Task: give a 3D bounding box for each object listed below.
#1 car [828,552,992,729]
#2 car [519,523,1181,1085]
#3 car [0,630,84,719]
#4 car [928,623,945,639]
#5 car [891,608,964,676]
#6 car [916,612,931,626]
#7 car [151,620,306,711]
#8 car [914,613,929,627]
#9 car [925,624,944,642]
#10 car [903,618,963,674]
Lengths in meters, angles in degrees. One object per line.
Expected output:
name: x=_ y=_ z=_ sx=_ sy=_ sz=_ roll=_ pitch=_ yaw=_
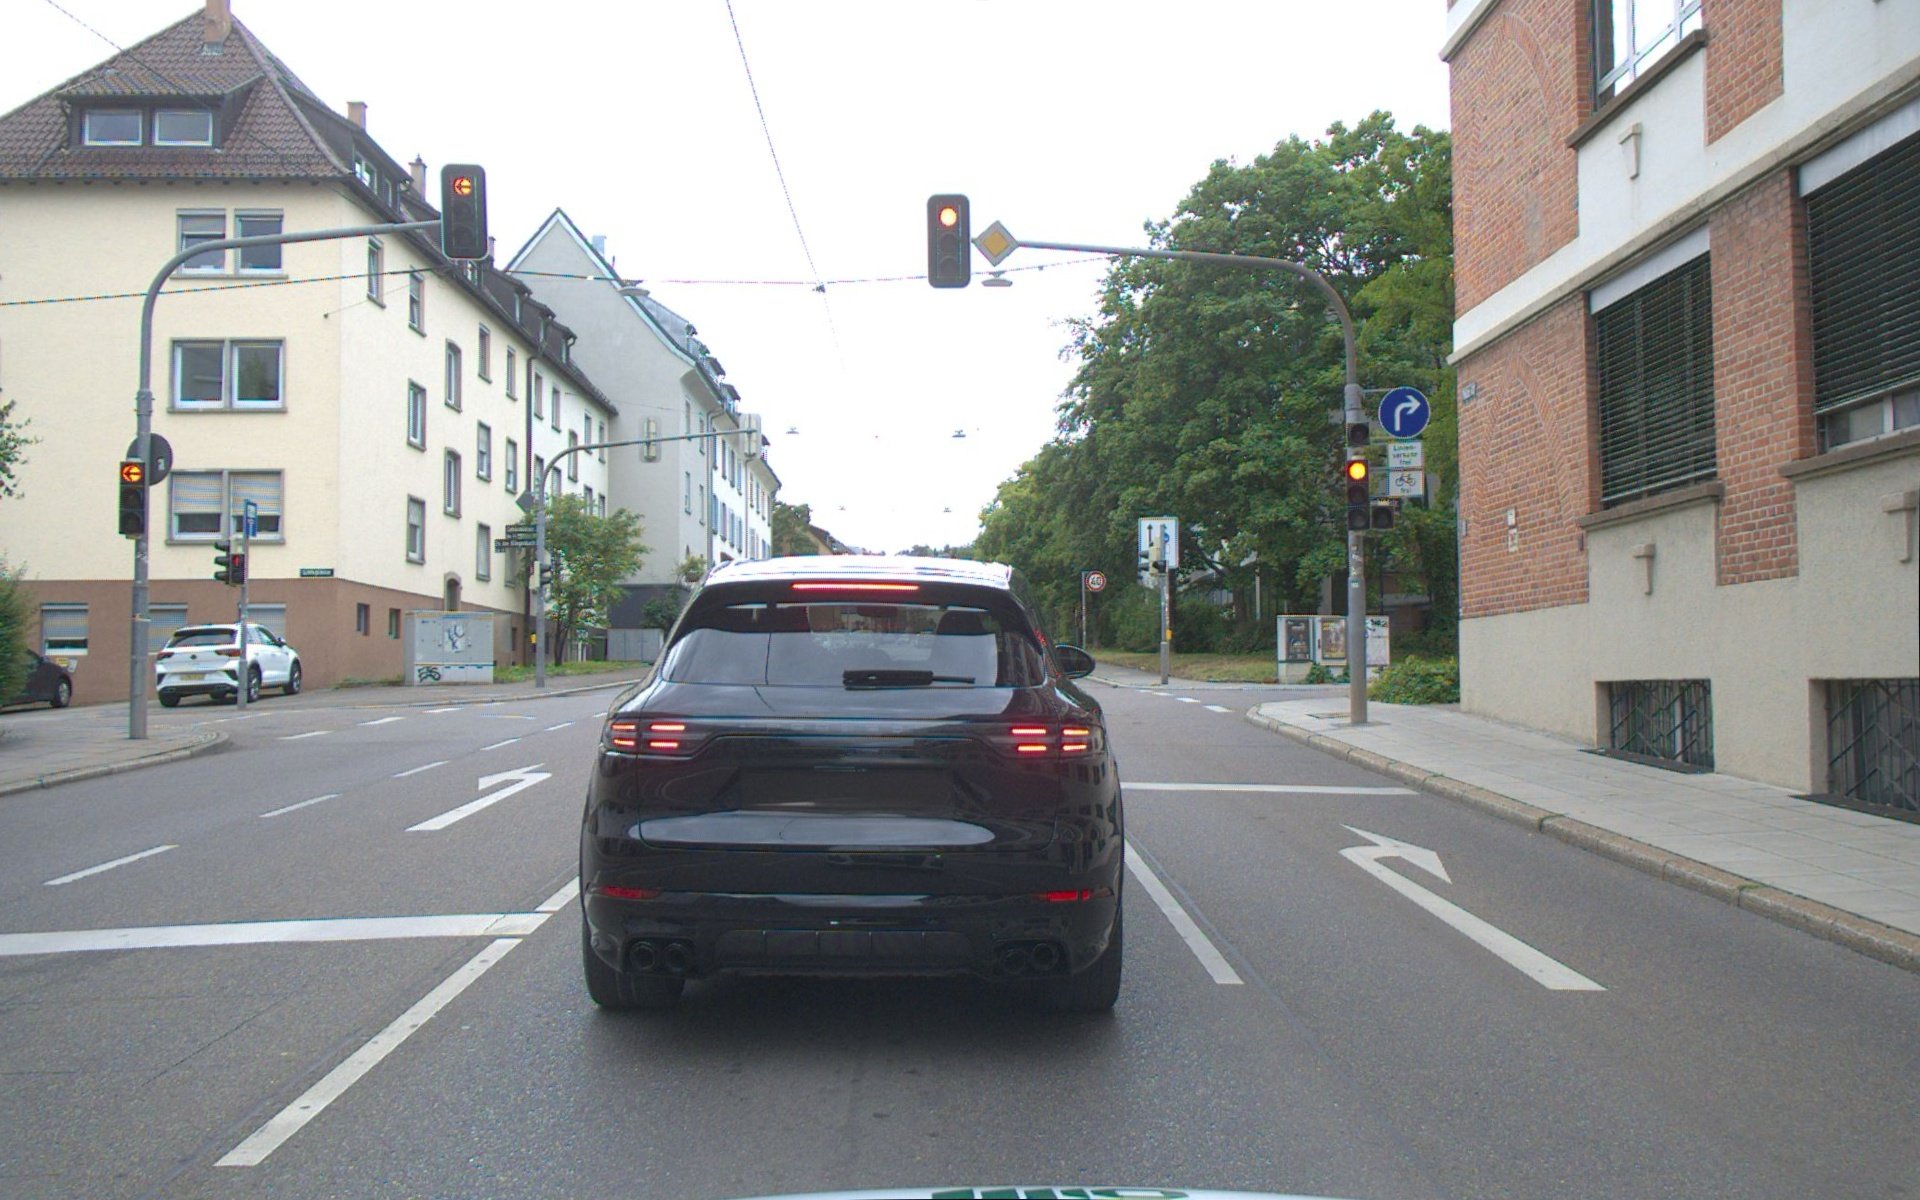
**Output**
car: x=-0.618 y=0.478 z=21.880 sx=1.925 sy=2.078 sz=4.134 roll=1 pitch=0 yaw=-1
car: x=-0.354 y=0.624 z=7.234 sx=2.007 sy=1.695 sz=4.266 roll=1 pitch=0 yaw=-1
car: x=-19.627 y=1.518 z=33.758 sx=1.658 sy=1.636 sz=3.762 roll=-3 pitch=0 yaw=-5
car: x=-2.586 y=3.428 z=182.392 sx=1.790 sy=1.633 sz=4.134 roll=1 pitch=0 yaw=-1
car: x=-0.836 y=1.074 z=43.792 sx=1.790 sy=1.633 sz=4.134 roll=1 pitch=0 yaw=-1
car: x=-4.630 y=2.398 z=210.162 sx=1.790 sy=1.633 sz=4.134 roll=1 pitch=0 yaw=-1
car: x=-14.722 y=1.273 z=33.487 sx=1.658 sy=1.582 sz=3.762 roll=-3 pitch=0 yaw=-5
car: x=-4.703 y=2.449 z=202.835 sx=1.790 sy=1.633 sz=4.134 roll=1 pitch=0 yaw=-1
car: x=-2.515 y=3.264 z=163.219 sx=1.790 sy=1.633 sz=4.134 roll=1 pitch=0 yaw=-1
car: x=-0.841 y=1.427 z=52.504 sx=1.790 sy=1.633 sz=3.858 roll=1 pitch=0 yaw=-1
